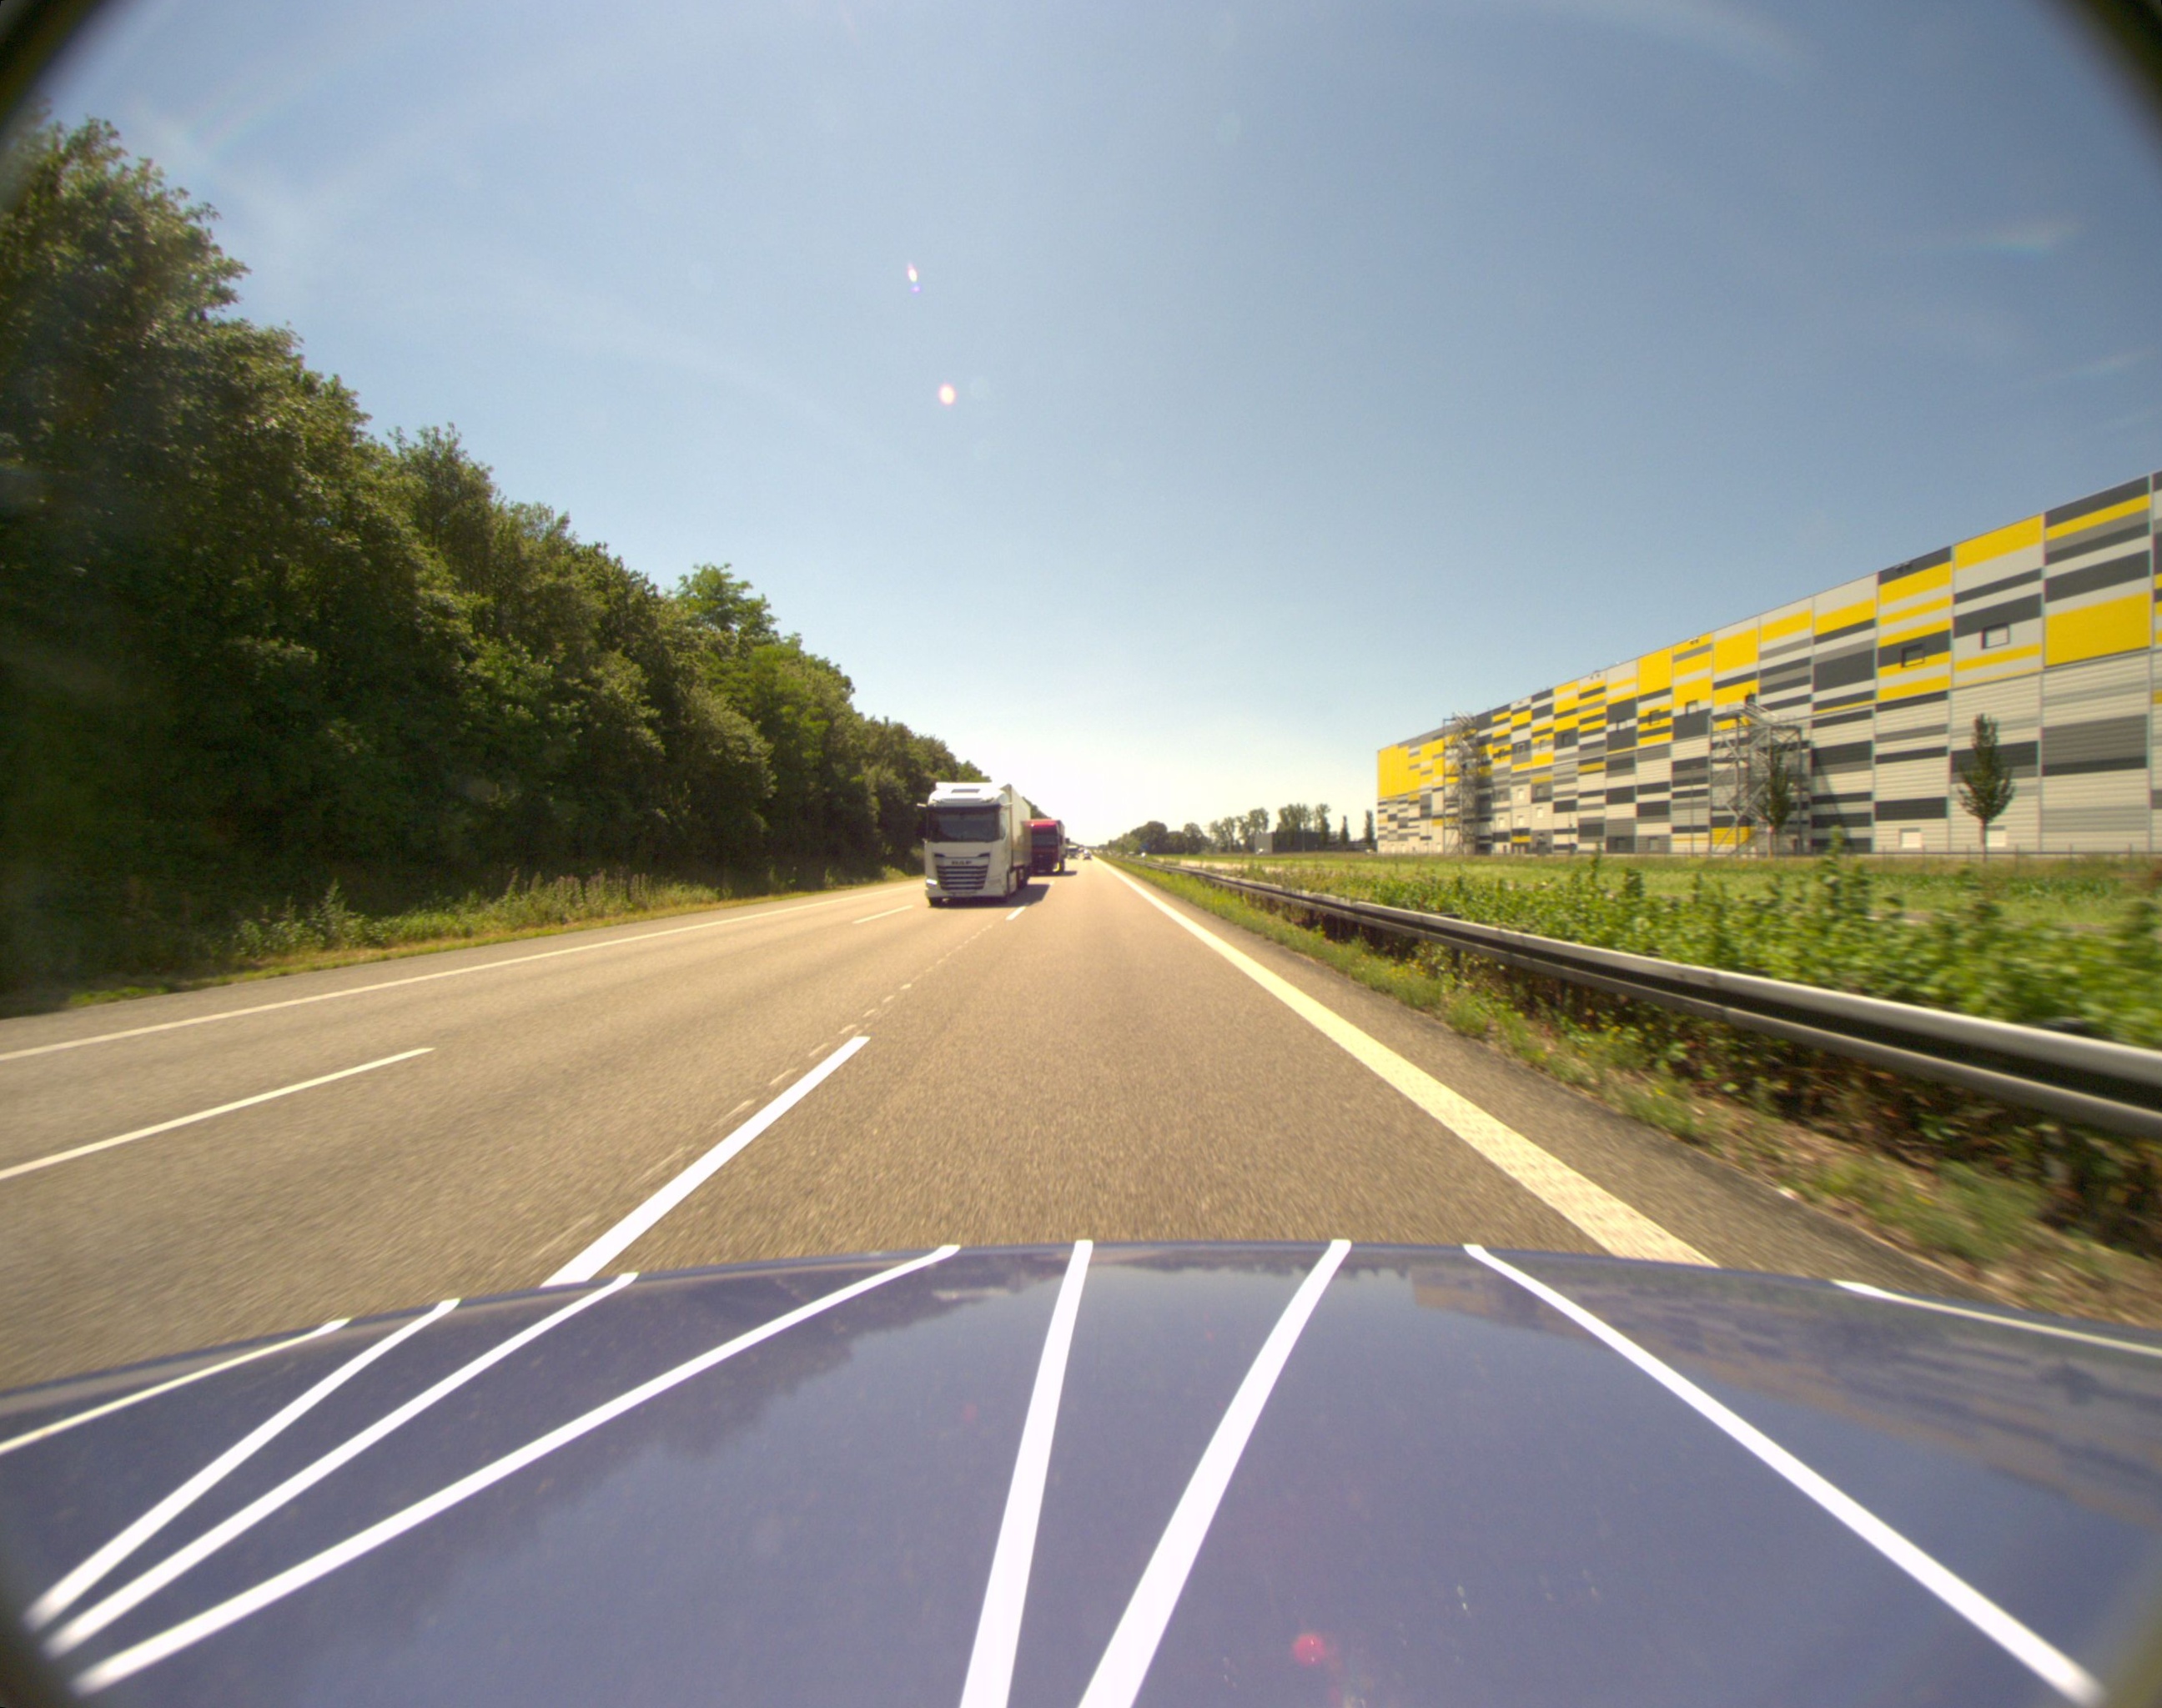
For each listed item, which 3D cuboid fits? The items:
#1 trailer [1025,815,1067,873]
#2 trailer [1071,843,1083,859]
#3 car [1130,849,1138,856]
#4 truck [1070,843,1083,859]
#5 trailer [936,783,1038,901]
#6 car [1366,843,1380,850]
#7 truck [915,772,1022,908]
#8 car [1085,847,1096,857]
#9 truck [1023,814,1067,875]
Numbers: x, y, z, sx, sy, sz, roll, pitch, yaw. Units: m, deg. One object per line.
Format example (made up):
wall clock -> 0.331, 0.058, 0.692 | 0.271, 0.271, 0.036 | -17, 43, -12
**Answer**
trailer -> -2.629, -0.718, 61.227 | 2.885, 4.046, 13.832 | -2, 0, -1
trailer -> -1.183, -0.754, 207.519 | 3.005, 4.046, 13.833 | -2, 0, 0
car -> 11.885, -0.270, 171.310 | 1.661, 1.573, 4.334 | 1, 0, 1
truck -> -1.165, -0.726, 200.009 | 2.999, 4.046, 5.770 | -2, 0, 0
trailer -> -3.686, -0.463, 33.549 | 2.684, 4.046, 13.833 | -2, 0, 0
car -> 72.740, -1.870, 189.238 | 1.832, 1.726, 4.269 | 0, 0, 0
truck -> -3.659, -0.433, 26.215 | 2.684, 4.046, 6.048 | -2, 0, 0
car -> 1.996, -0.390, 160.270 | 2.073, 1.959, 5.109 | 0, 0, -1
truck -> -2.496, -0.681, 54.742 | 2.870, 4.046, 5.770 | -2, 0, -1
